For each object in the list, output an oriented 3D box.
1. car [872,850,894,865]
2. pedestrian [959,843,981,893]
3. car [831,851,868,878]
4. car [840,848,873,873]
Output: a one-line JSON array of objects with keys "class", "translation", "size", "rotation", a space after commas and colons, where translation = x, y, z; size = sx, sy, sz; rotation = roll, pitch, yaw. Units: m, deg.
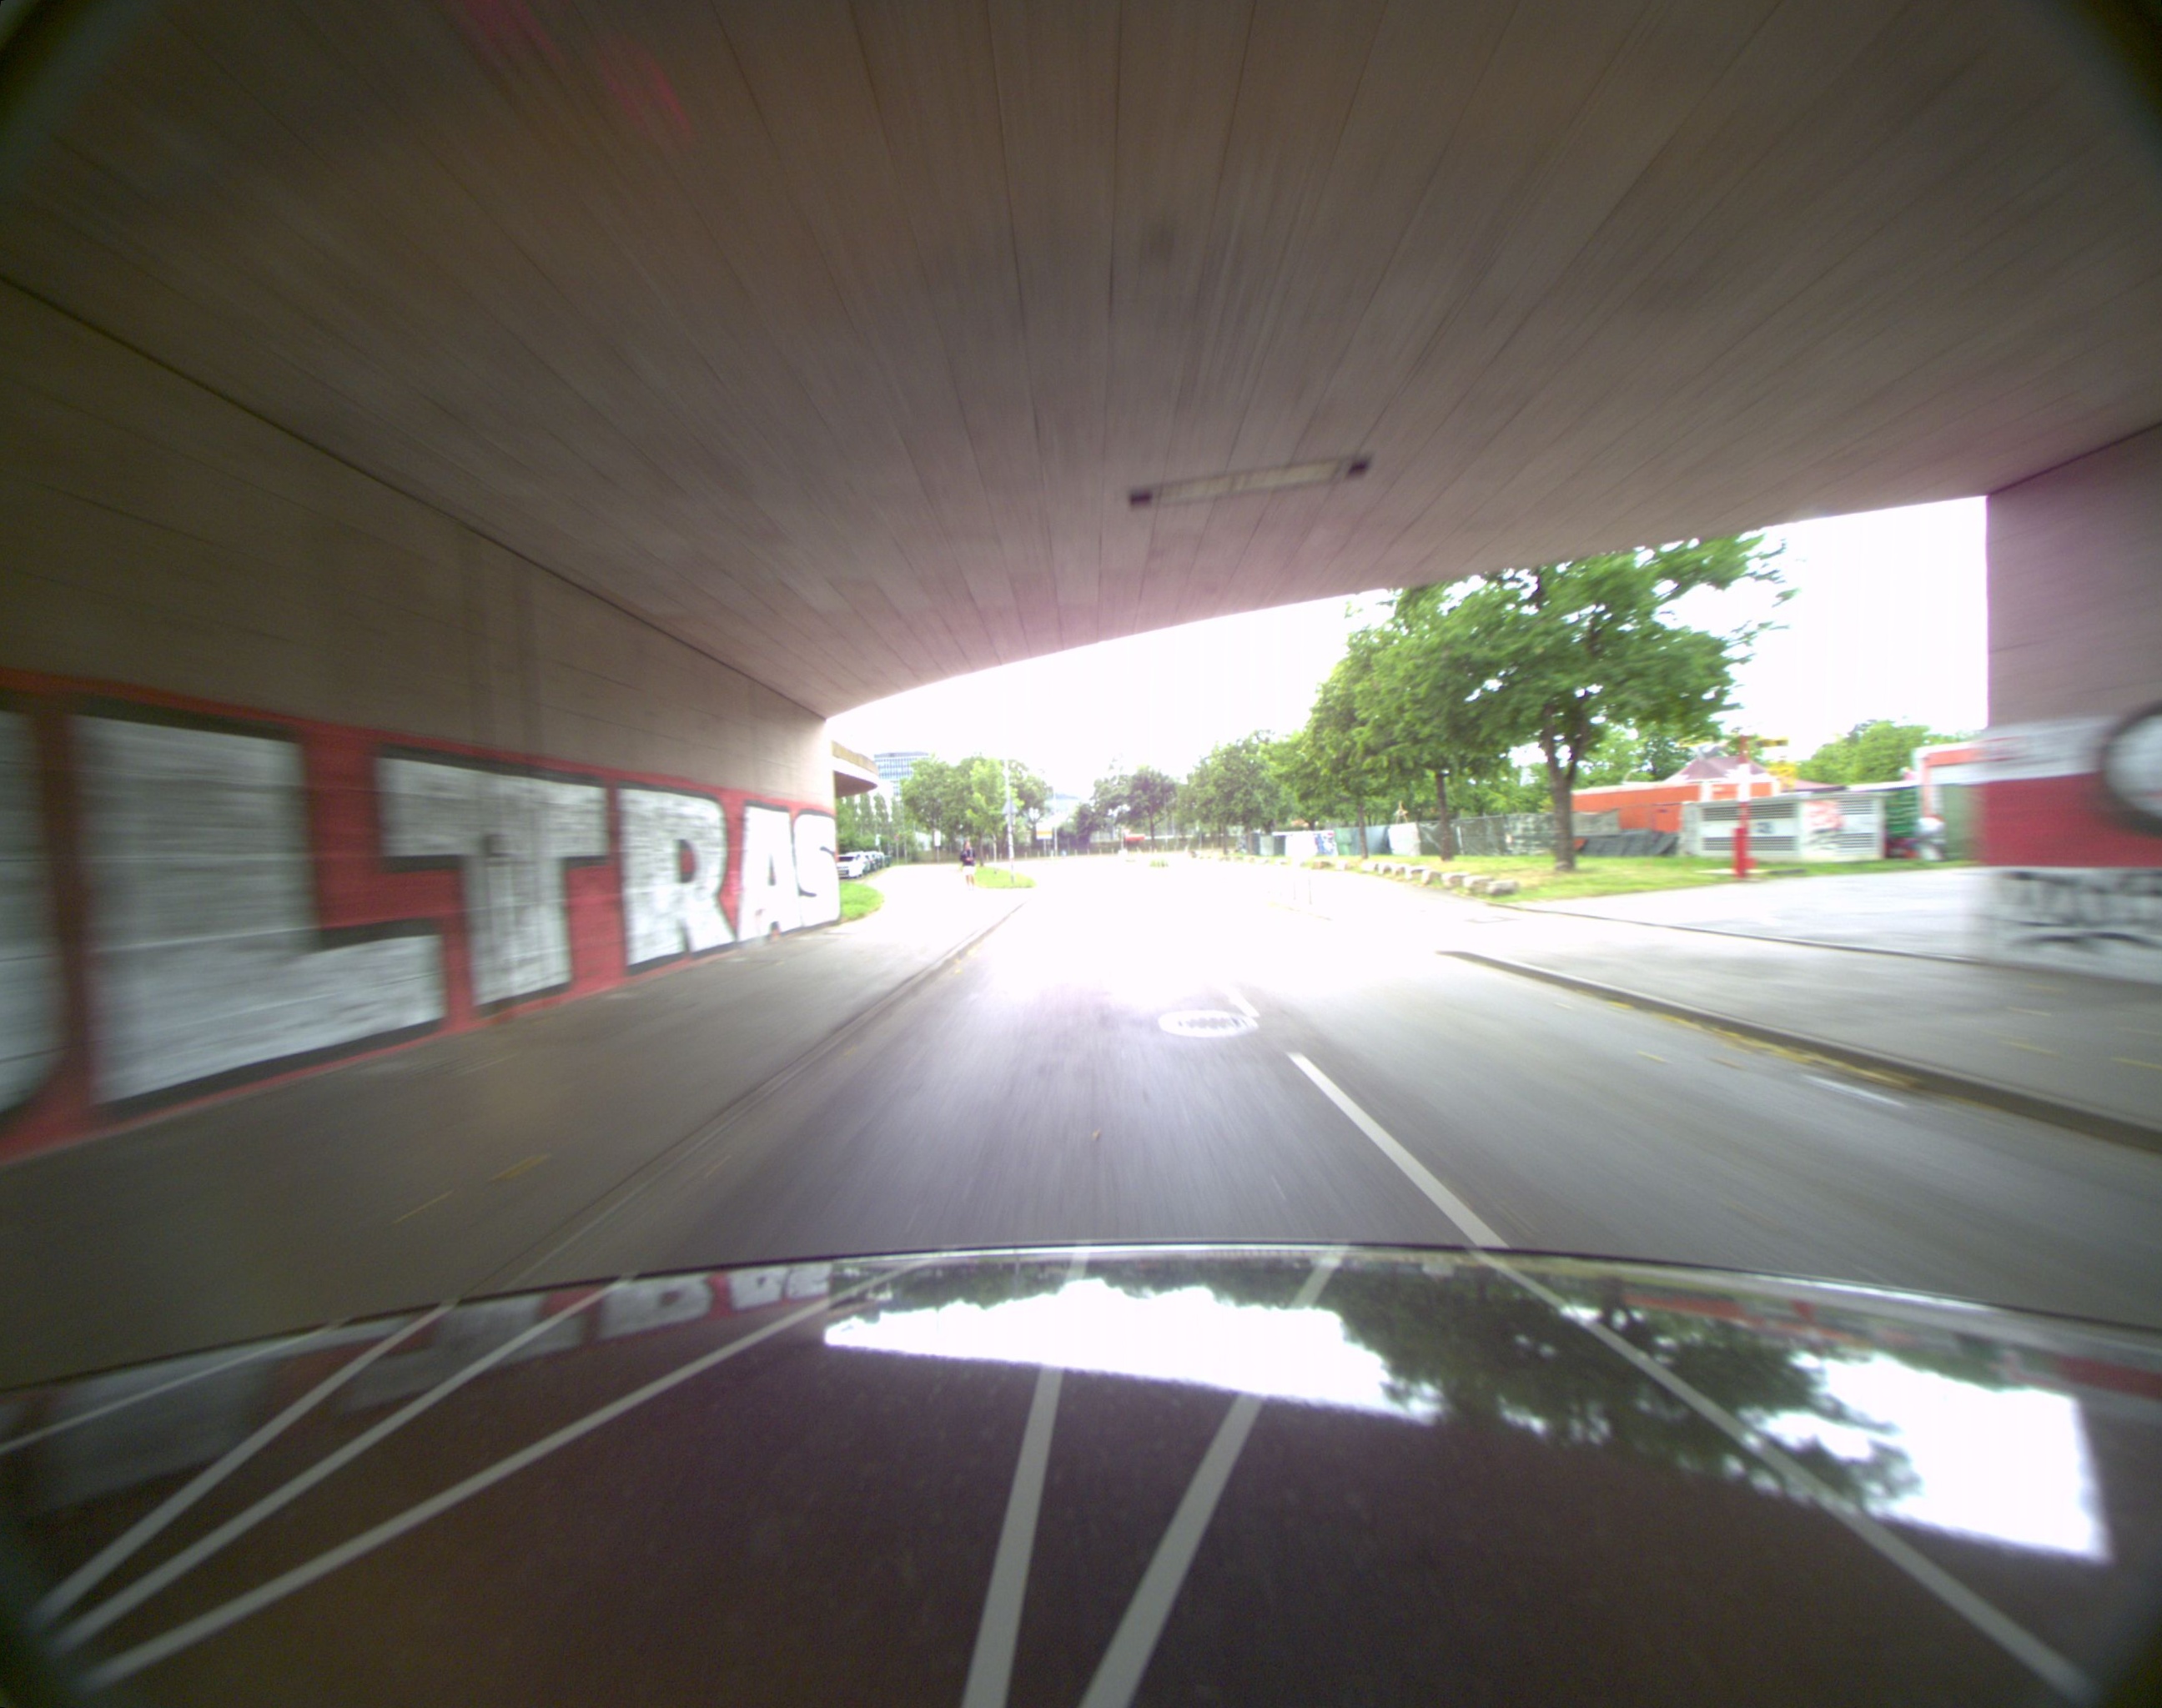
[{"class": "car", "translation": [-17.523, 0.280, 67.464], "size": [1.628, 1.231, 4.054], "rotation": [-2, 1, -12]}, {"class": "pedestrian", "translation": [-4.249, 0.521, 29.066], "size": [0.822, 1.869, 1.180], "rotation": [0, 1, -8]}, {"class": "car", "translation": [-13.936, 0.602, 45.939], "size": [1.611, 1.437, 3.472], "rotation": [-2, 2, -9]}, {"class": "car", "translation": [-15.049, 0.431, 51.119], "size": [1.616, 1.522, 3.914], "rotation": [-4, 1, -11]}]
